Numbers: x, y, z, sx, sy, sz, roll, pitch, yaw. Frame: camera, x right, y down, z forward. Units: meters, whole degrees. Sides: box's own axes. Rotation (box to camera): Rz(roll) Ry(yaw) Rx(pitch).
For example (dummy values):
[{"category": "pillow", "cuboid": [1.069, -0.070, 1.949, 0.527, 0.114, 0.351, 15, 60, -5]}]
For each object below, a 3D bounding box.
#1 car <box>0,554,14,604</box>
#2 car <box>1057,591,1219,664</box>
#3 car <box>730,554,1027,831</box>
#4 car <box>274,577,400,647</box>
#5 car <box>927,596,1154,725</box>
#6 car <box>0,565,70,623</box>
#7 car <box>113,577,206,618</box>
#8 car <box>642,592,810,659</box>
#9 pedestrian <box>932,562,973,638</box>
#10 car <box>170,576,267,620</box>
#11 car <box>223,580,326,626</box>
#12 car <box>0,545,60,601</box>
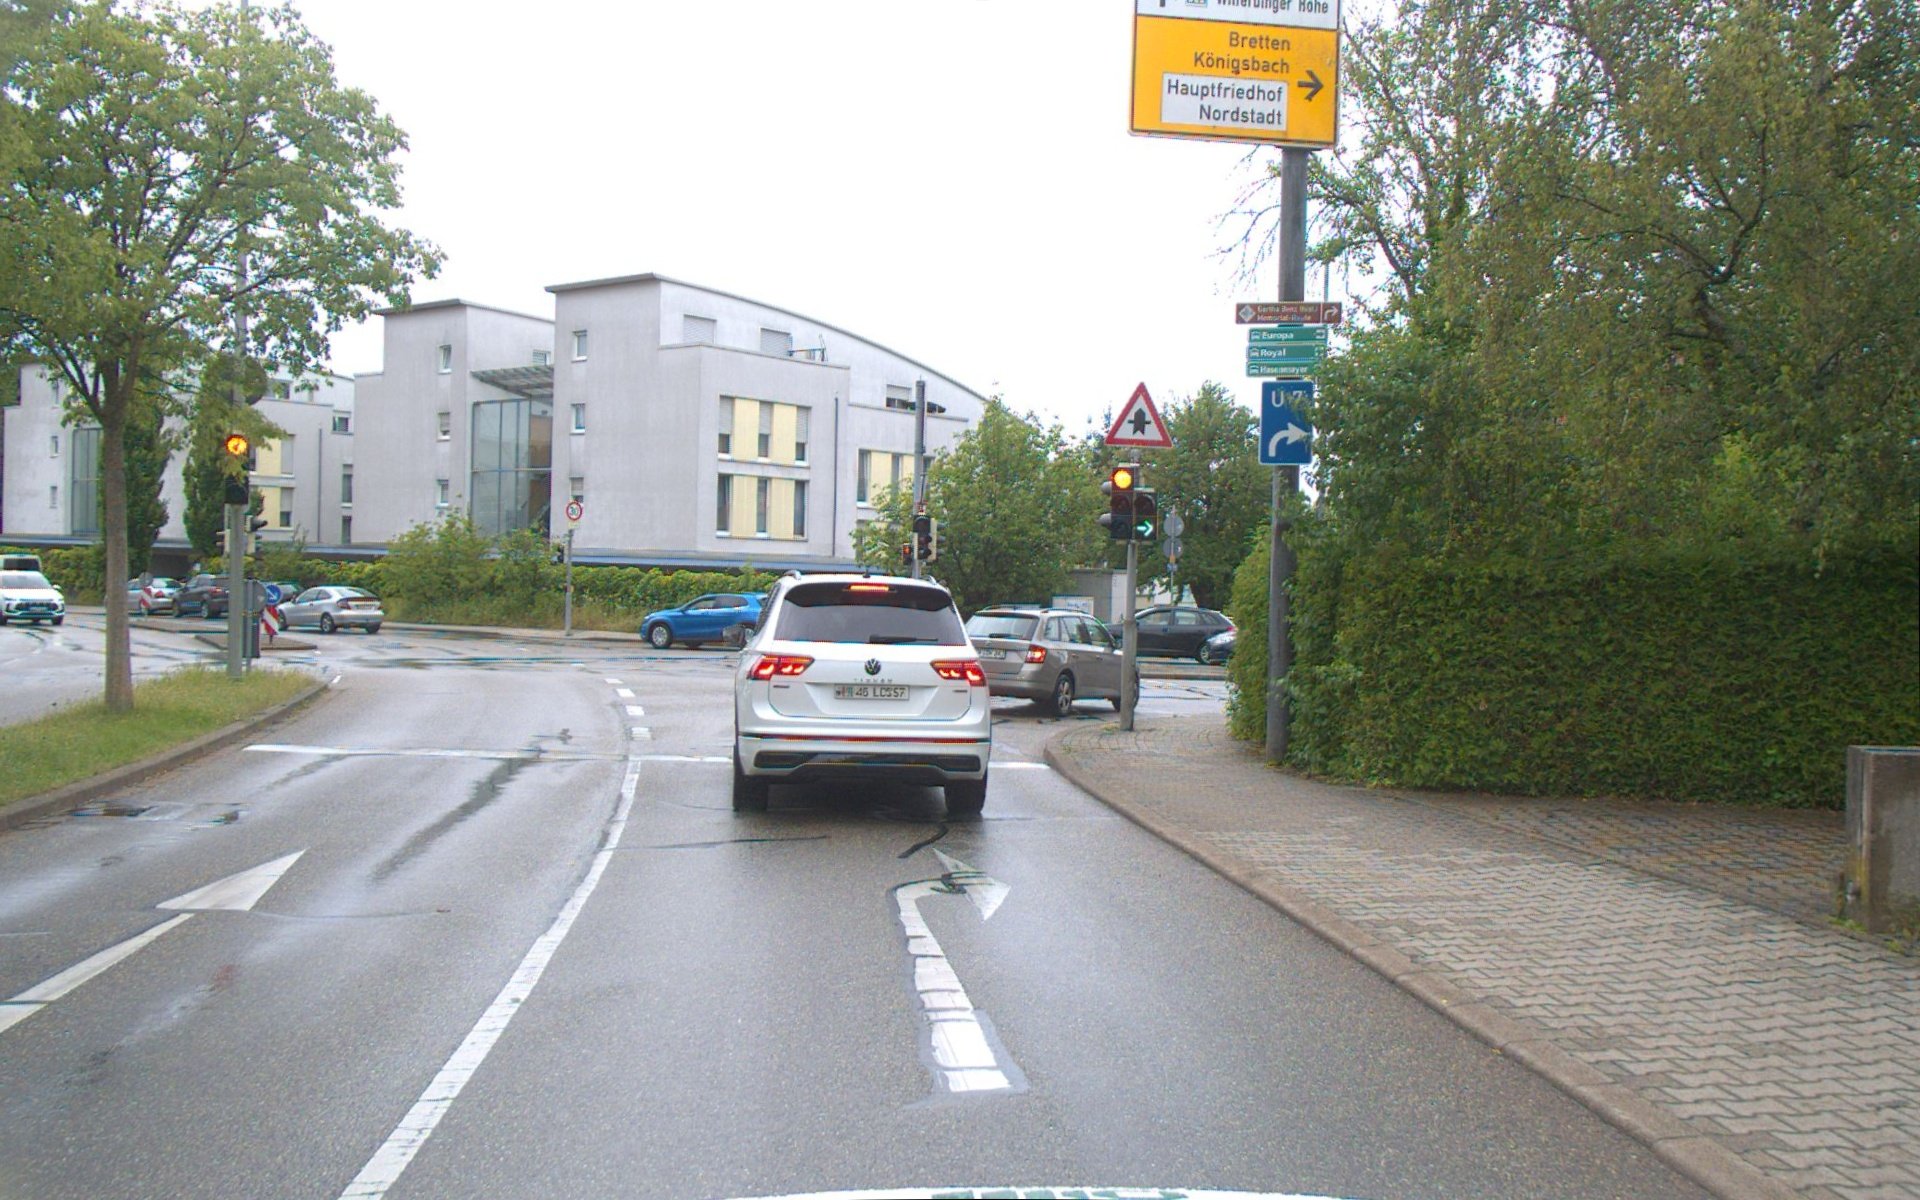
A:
[{"category": "car", "cuboid": [-42.385, -1.017, 70.679, 3.924, 2.048, 1.972, 6, 4, 37]}, {"category": "car", "cuboid": [4.471, 0.666, 41.946, 3.904, 1.578, 2.001, 2, 3, 2]}, {"category": "car", "cuboid": [-0.803, 0.614, 12.832, 1.885, 1.752, 4.257, 2, 0, -8]}, {"category": "car", "cuboid": [-19.409, 0.352, 51.492, 3.928, 1.788, 1.989, 6, 4, 40]}, {"category": "car", "cuboid": [1.270, 0.797, 24.215, 1.732, 1.535, 3.995, 5, 3, 27]}, {"category": "car", "cuboid": [-29.469, -0.206, 52.059, 1.979, 1.668, 3.948, 2, 1, -37]}, {"category": "car", "cuboid": [-32.665, -0.118, 67.438, 3.926, 1.583, 1.990, 1, 0, 40]}, {"category": "car", "cuboid": [-6.169, 0.634, 43.644, 3.906, 1.582, 2.000, 1, 1, 22]}, {"category": "pedestrian", "cuboid": [-0.211, -0.007, 46.108, 0.783, 2.048, 0.849, 3, 2, 25]}, {"category": "car", "cuboid": [-28.940, -0.093, 64.506, 3.926, 1.582, 1.990, 2, 2, 40]}, {"category": "car", "cuboid": [-25.546, 0.068, 61.633, 3.926, 1.582, 1.990, 2, 2, 40]}, {"category": "car", "cuboid": [-44.417, -1.223, 77.344, 5.163, 2.456, 2.584, -1, -1, 43]}]
